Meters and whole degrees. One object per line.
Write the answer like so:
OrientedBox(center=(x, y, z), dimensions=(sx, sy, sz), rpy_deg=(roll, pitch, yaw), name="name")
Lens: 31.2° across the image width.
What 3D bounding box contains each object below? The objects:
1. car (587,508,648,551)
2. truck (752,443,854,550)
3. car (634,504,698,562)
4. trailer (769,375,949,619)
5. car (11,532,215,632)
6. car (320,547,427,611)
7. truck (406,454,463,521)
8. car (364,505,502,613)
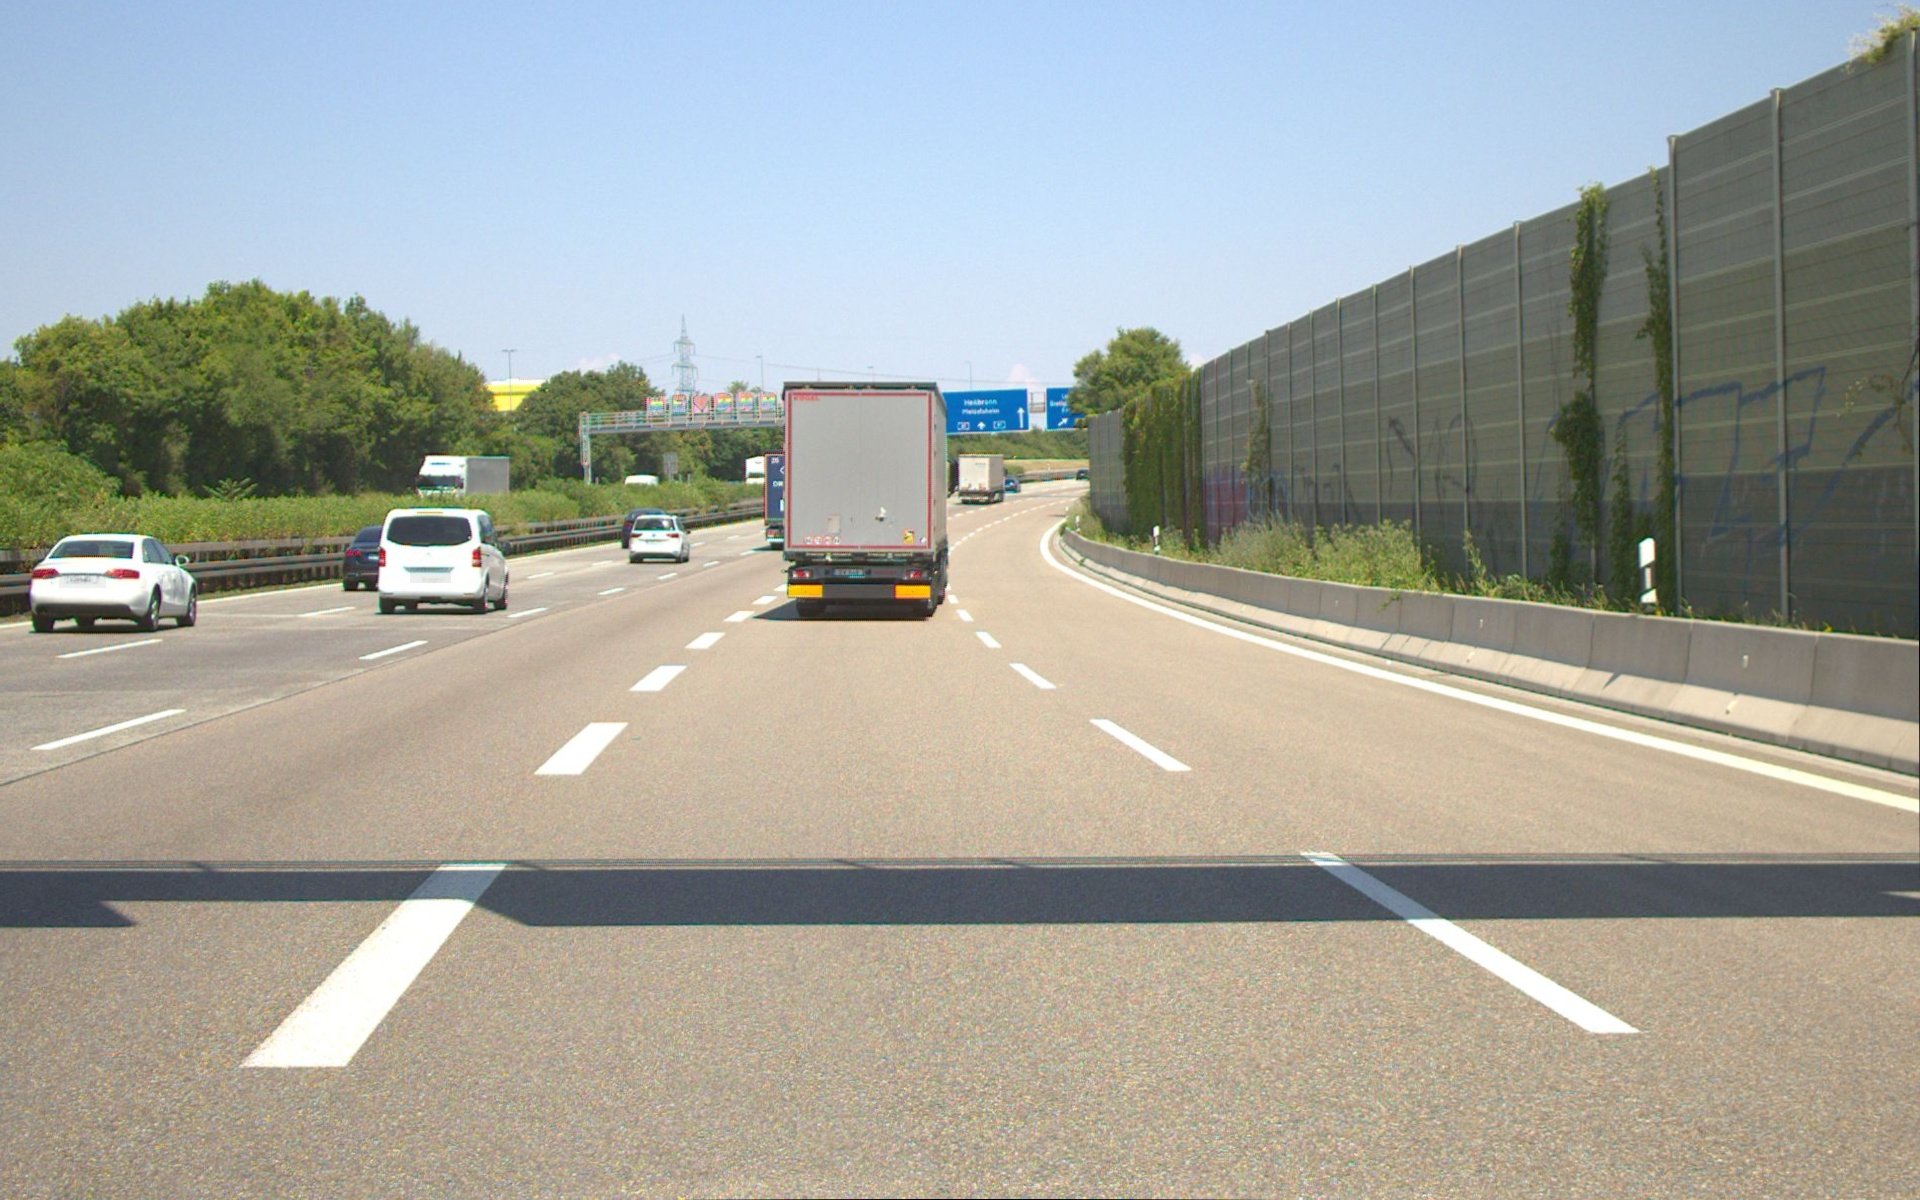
OrientedBox(center=(-14.134, -2.918, 142.183), dimensions=(1.904, 1.683, 4.631), rpy_deg=(-1, 2, 2), name="car")
OrientedBox(center=(-6.486, -4.437, 144.403), dimensions=(3.747, 4.255, 14.498), rpy_deg=(0, 2, -1), name="truck")
OrientedBox(center=(-9.988, -2.312, 116.931), dimensions=(1.904, 1.845, 4.632), rpy_deg=(-1, 2, -2), name="car")
OrientedBox(center=(-1.917, -1.844, 63.051), dimensions=(2.927, 4.001, 12.040), rpy_deg=(-1, 1, -2), name="trailer")
OrientedBox(center=(-12.686, -0.301, 51.808), dimensions=(1.876, 1.435, 5.126), rpy_deg=(0, 1, -1), name="car")
OrientedBox(center=(-13.579, -0.486, 79.826), dimensions=(1.756, 1.404, 5.040), rpy_deg=(-1, 0, -2), name="car")
OrientedBox(center=(-31.287, -6.689, 204.781), dimensions=(2.538, 3.933, 5.167), rpy_deg=(0, 2, 0), name="truck")
OrientedBox(center=(-9.449, -0.713, 61.943), dimensions=(1.930, 1.845, 4.693), rpy_deg=(-1, 0, -2), name="car")
